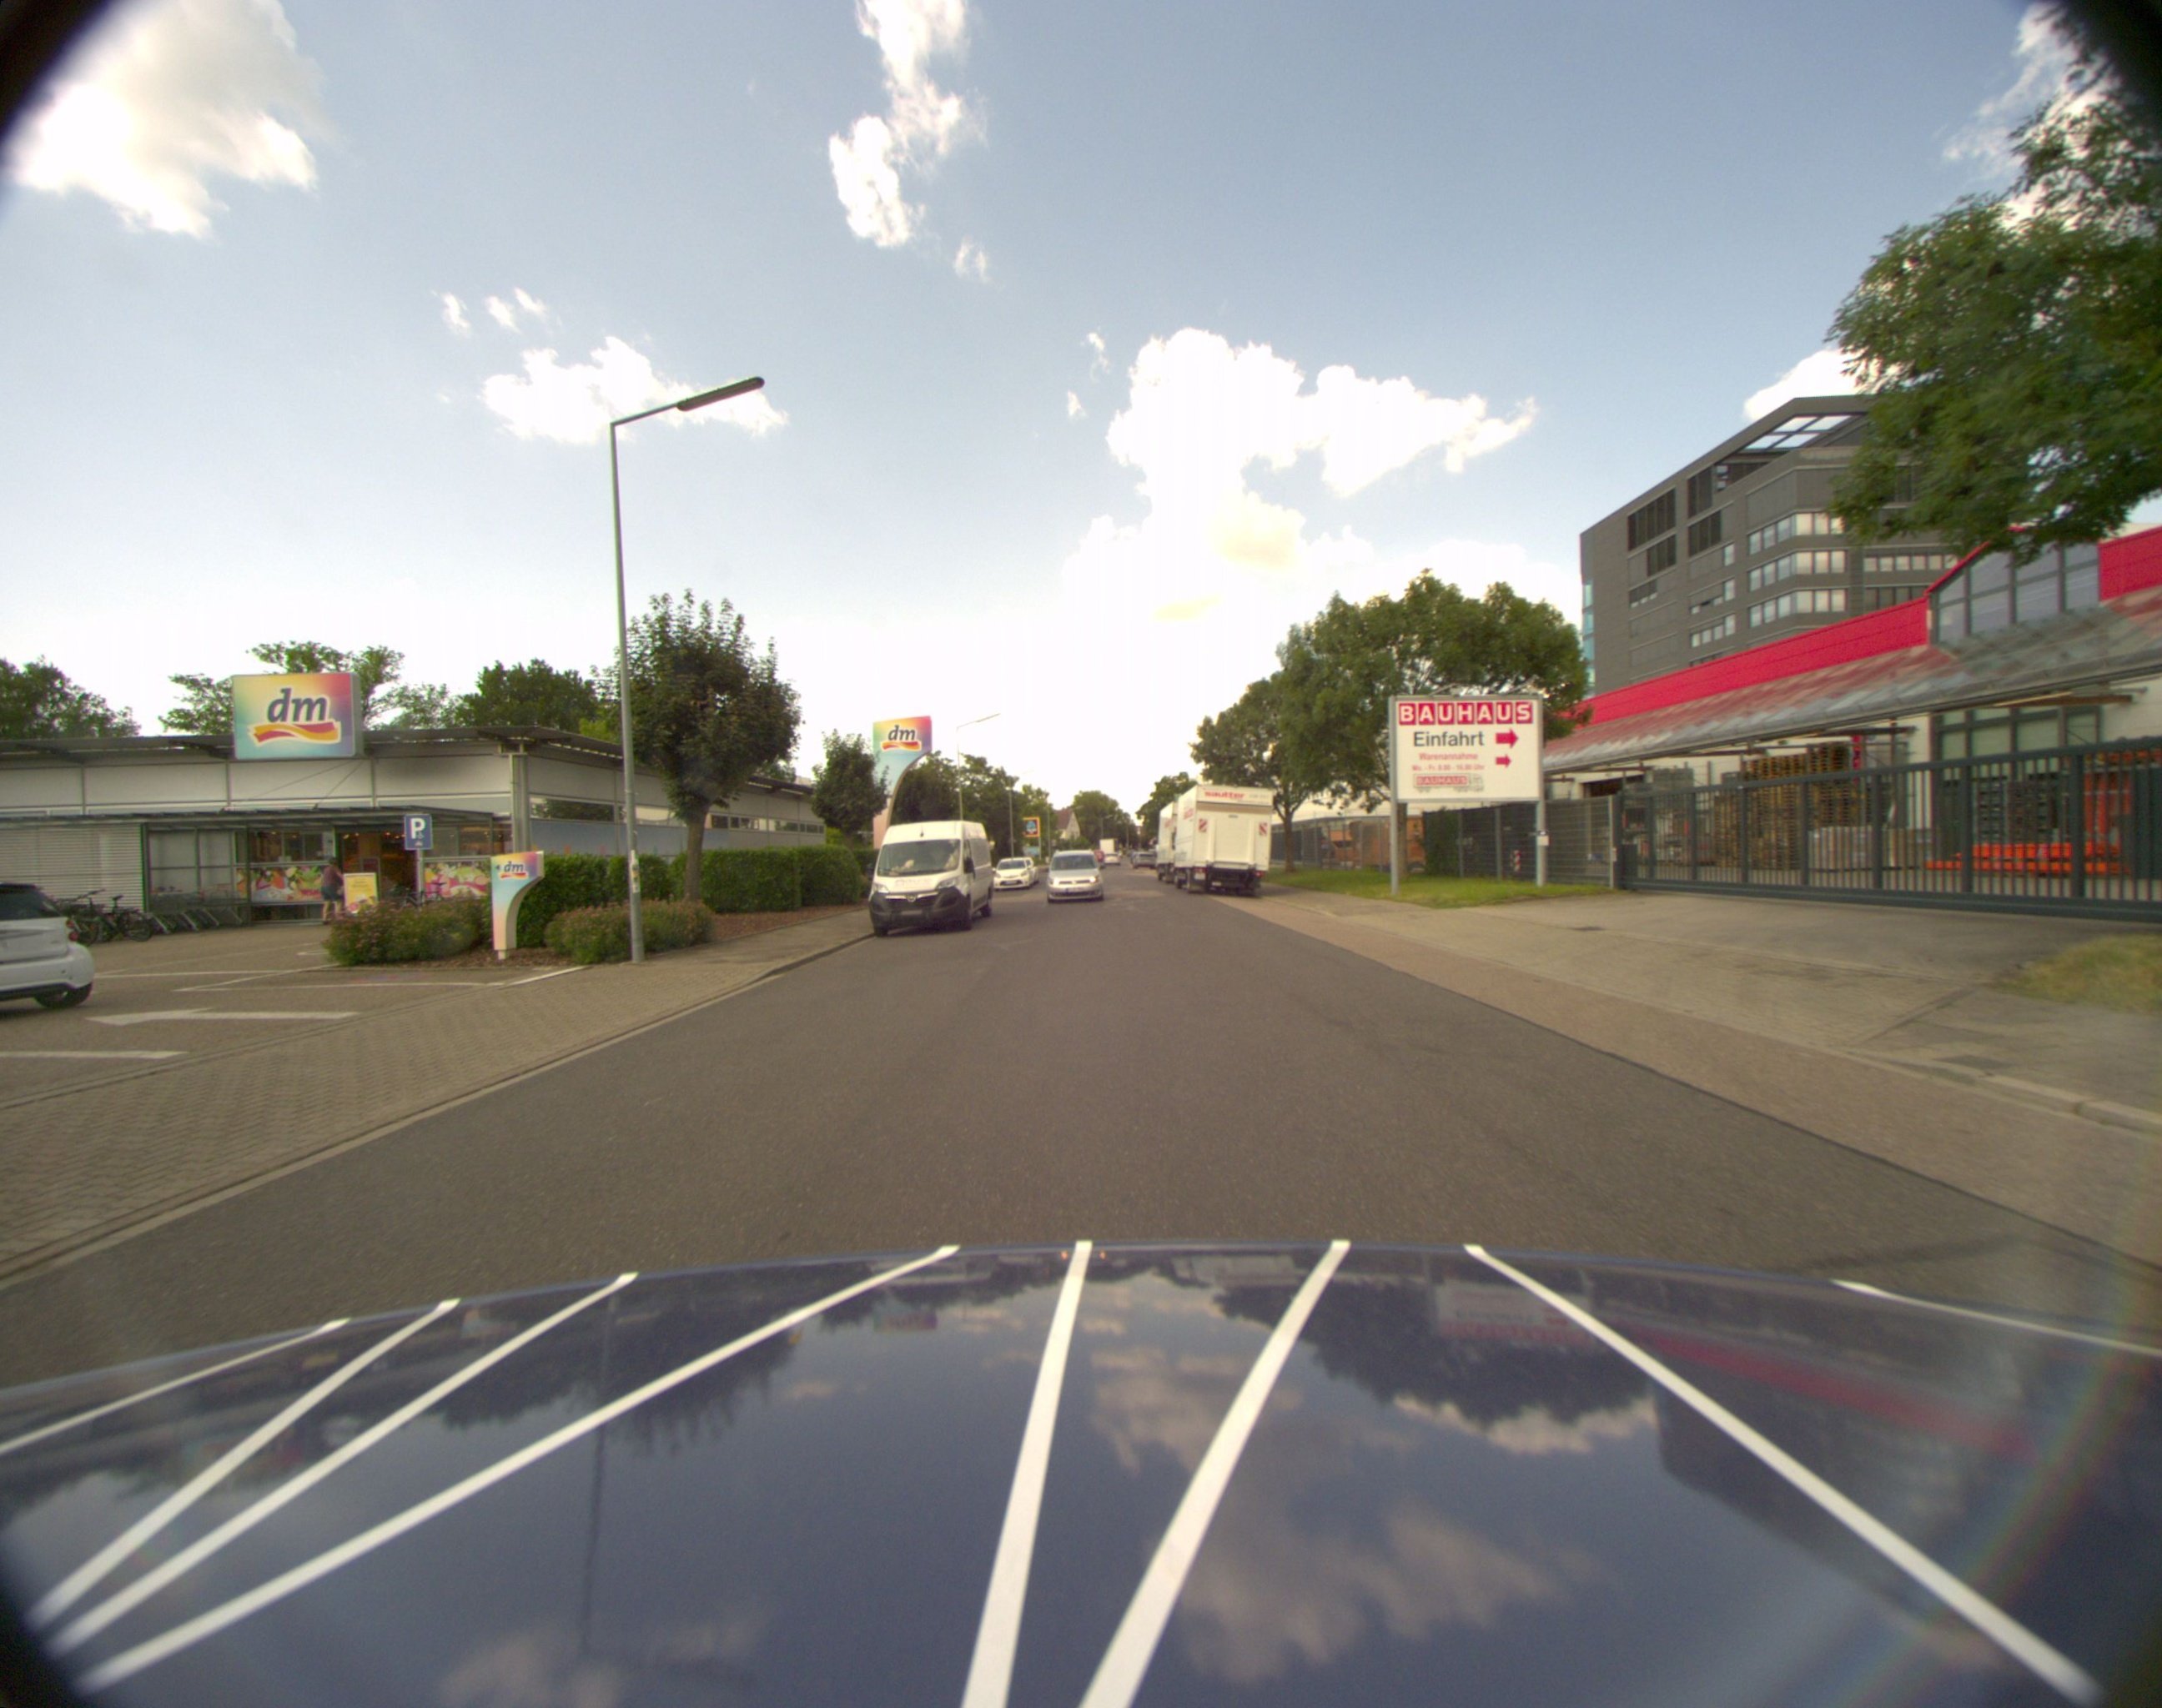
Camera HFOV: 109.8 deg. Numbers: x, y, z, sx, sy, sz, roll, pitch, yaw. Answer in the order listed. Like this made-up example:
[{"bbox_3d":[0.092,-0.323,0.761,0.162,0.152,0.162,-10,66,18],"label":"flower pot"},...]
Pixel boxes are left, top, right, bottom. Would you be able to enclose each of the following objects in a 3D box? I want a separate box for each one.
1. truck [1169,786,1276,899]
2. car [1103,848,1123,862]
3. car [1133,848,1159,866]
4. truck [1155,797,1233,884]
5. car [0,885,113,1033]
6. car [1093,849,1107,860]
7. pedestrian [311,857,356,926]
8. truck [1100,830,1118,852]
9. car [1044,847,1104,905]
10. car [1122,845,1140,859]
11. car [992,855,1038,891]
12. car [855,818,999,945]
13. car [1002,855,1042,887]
[{"bbox_3d":[5.089,-0.466,28.625,2.754,3.702,7.170,0,1,0],"label":"truck"},{"bbox_3d":[3.453,0.105,82.967,1.982,1.467,3.999,-2,1,0],"label":"car"},{"bbox_3d":[5.784,0.248,68.087,1.982,1.565,3.999,-2,1,0],"label":"car"},{"bbox_3d":[5.280,-0.615,36.819,2.754,3.787,7.171,0,1,0],"label":"truck"},{"bbox_3d":[-12.921,1.185,8.206,2.717,1.534,1.646,-2,1,-1],"label":"car"},{"bbox_3d":[2.668,-0.006,108.020,1.856,1.467,3.999,-2,1,0],"label":"car"},{"bbox_3d":[-18.999,0.945,19.317,0.528,1.691,0.546,-2,1,1],"label":"pedestrian"},{"bbox_3d":[5.406,-2.555,148.522,2.979,4.132,9.666,-2,1,0],"label":"truck"},{"bbox_3d":[-0.144,0.649,25.256,1.744,1.674,4.592,-3,1,2],"label":"car"},{"bbox_3d":[6.007,-0.219,92.170,1.853,1.565,3.999,-2,1,0],"label":"car"},{"bbox_3d":[-3.059,0.848,35.749,1.698,1.448,3.549,-4,1,0],"label":"car"},{"bbox_3d":[-3.376,0.530,17.909,2.057,2.395,5.454,-4,1,0],"label":"car"},{"bbox_3d":[-3.042,0.842,39.935,1.698,1.448,3.704,-4,1,0],"label":"car"}]
